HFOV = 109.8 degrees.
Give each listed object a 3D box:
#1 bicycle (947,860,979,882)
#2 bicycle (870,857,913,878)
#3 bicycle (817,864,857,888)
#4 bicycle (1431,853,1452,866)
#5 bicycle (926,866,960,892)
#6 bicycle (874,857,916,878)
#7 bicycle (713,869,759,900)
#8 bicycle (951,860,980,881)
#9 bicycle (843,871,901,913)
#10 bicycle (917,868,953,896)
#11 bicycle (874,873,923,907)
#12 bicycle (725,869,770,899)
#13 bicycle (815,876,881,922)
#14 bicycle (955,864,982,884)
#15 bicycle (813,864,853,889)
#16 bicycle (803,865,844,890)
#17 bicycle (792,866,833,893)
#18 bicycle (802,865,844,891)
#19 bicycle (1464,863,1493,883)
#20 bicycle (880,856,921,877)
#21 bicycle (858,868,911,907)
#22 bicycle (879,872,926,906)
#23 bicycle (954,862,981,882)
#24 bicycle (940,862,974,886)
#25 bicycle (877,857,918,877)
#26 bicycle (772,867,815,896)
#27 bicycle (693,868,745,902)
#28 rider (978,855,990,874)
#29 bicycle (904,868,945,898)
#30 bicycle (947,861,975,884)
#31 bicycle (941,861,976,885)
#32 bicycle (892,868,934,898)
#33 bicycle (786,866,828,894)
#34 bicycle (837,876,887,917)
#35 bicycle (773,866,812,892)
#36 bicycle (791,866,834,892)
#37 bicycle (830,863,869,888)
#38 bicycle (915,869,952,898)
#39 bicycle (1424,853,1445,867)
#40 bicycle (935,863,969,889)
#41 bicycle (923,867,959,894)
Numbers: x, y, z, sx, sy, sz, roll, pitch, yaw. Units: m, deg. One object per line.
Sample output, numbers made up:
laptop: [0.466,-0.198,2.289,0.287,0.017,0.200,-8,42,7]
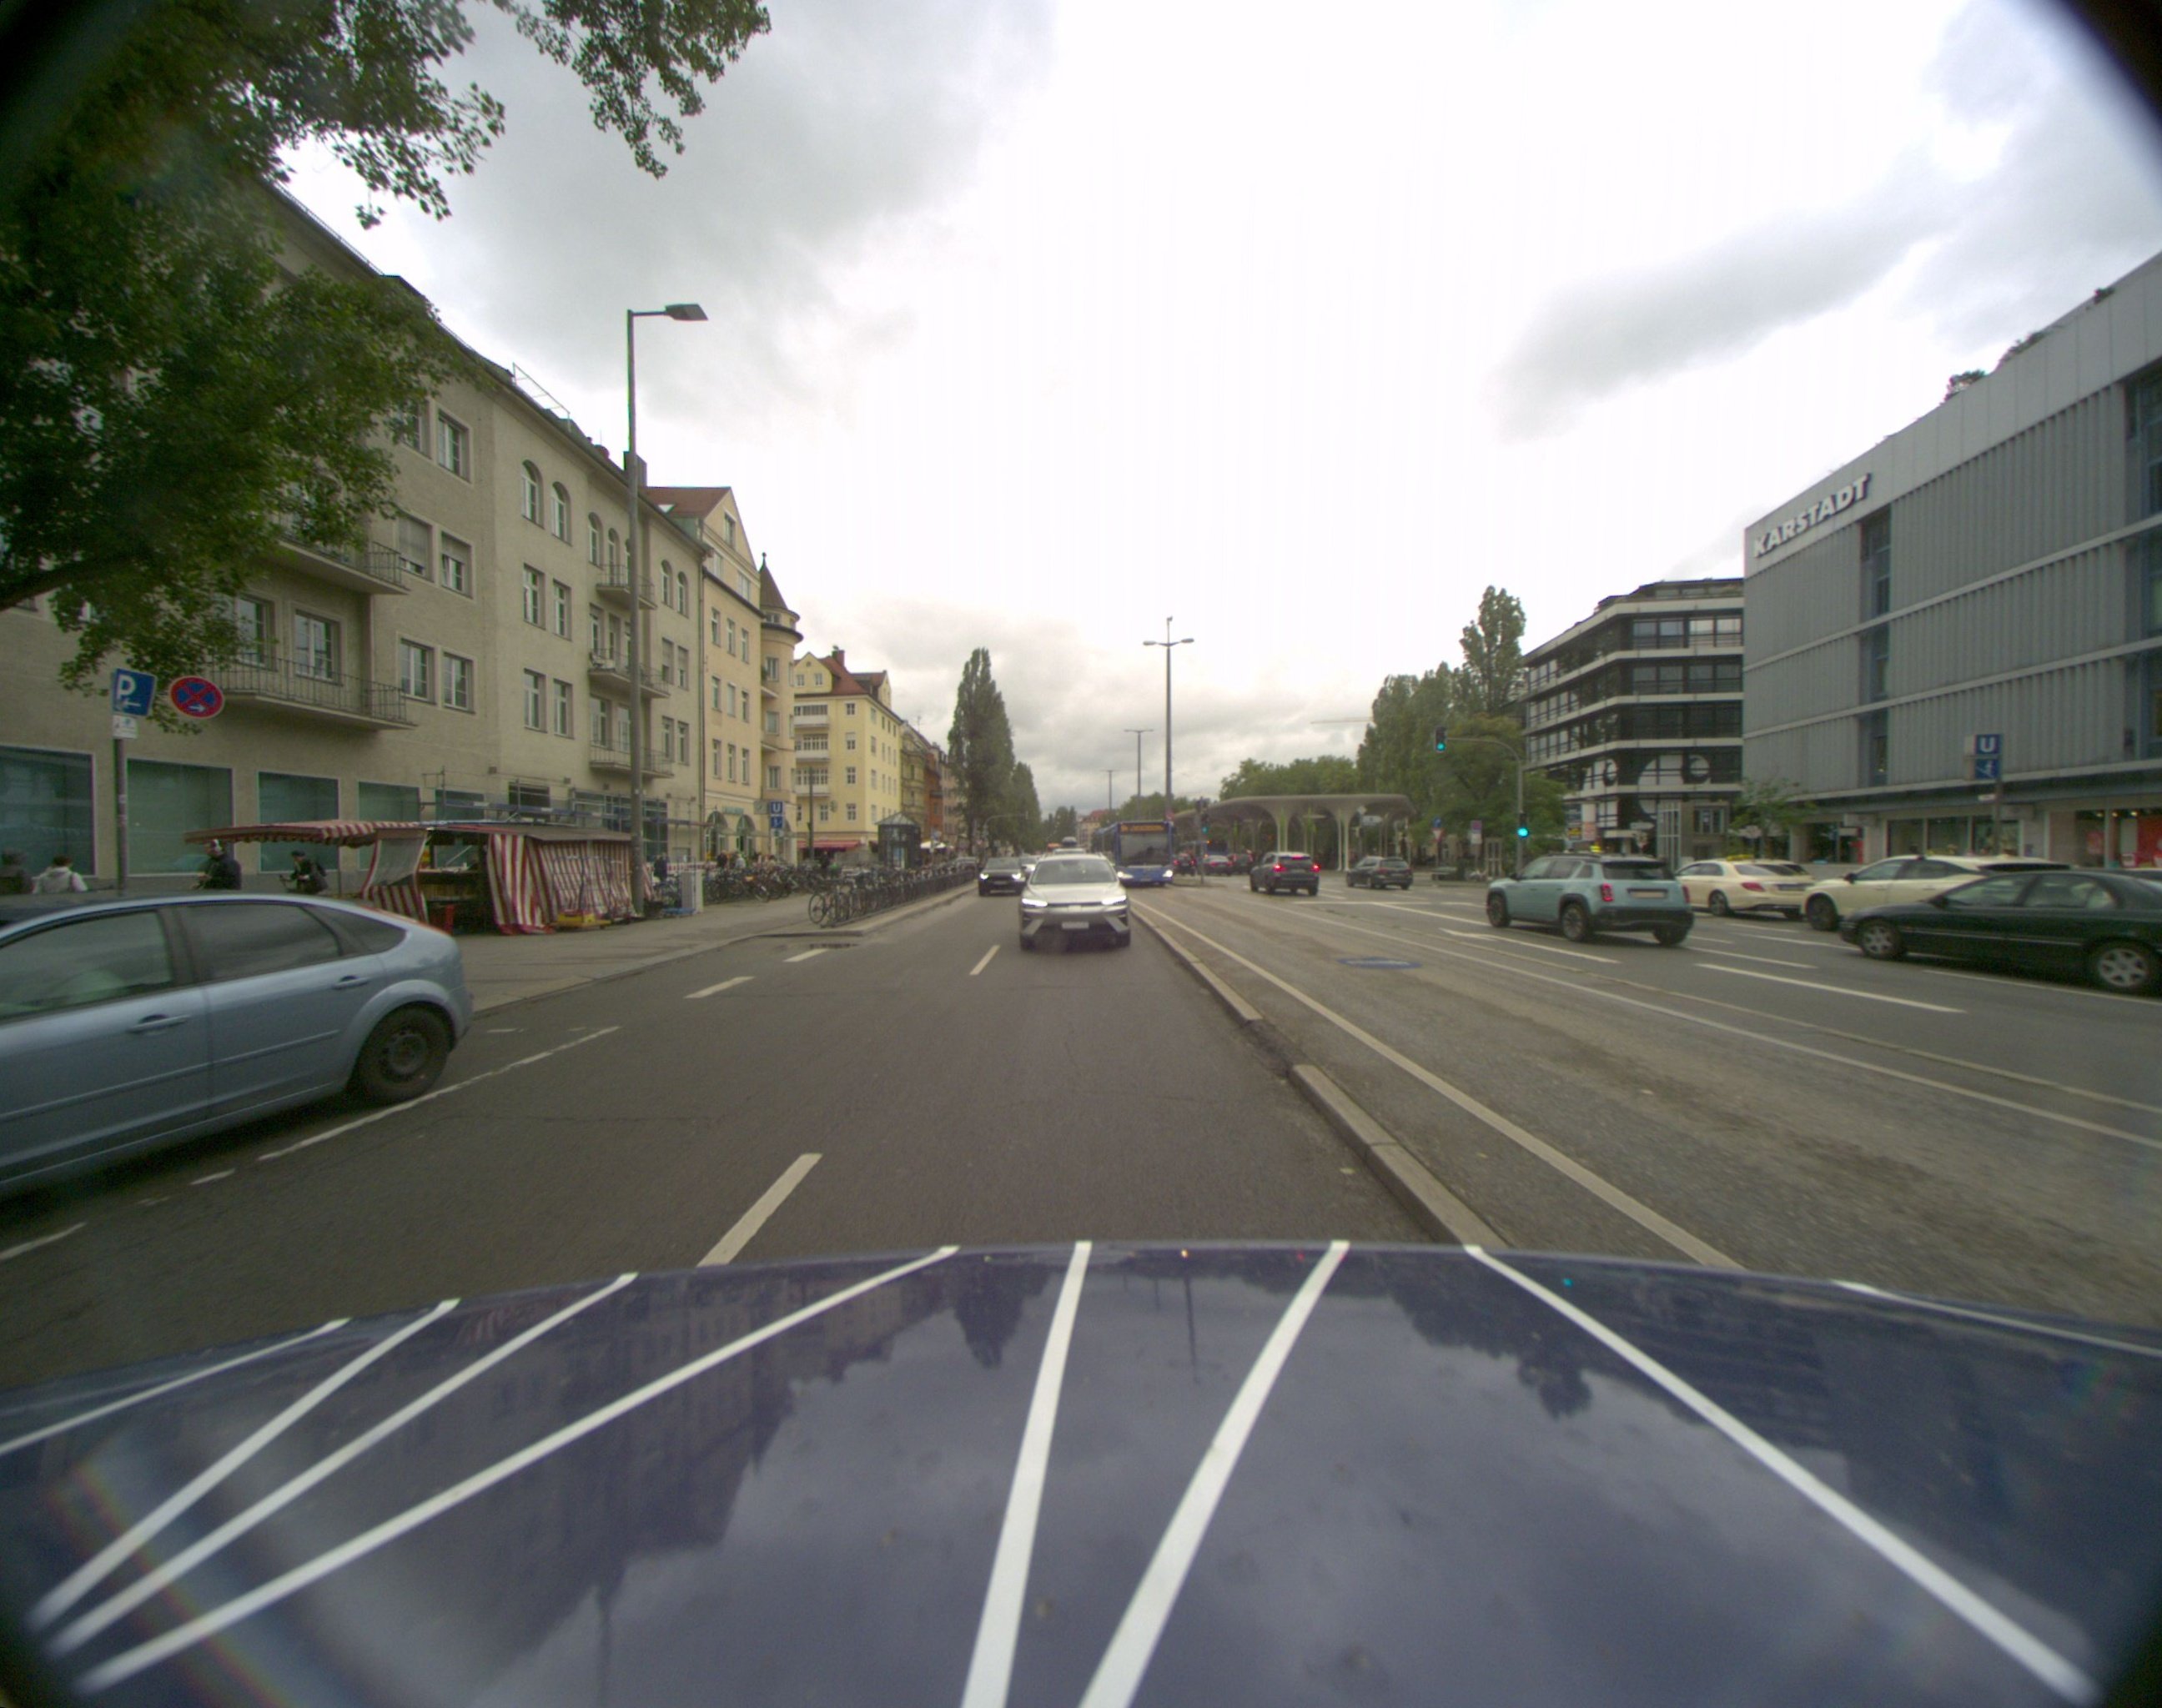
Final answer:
bicycle: [-6.230,0.907,40.024,1.674,1.131,0.479,-1,1,29]
bicycle: [-11.109,0.805,44.604,2.317,1.220,0.628,0,1,2]
bicycle: [-10.907,0.983,33.982,1.655,1.071,0.410,1,1,-2]
bicycle: [29.633,0.463,62.475,0.473,1.091,1.671,-1,1,-25]
bicycle: [-6.047,1.101,33.180,1.848,1.053,0.398,-5,-1,44]
bicycle: [-11.061,0.792,45.238,2.317,1.220,0.628,0,1,2]
bicycle: [-12.367,1.100,27.234,1.453,1.071,0.410,1,1,-10]
bicycle: [-6.197,0.891,40.838,1.673,1.131,0.479,-1,1,39]
bicycle: [-5.891,1.078,21.377,1.797,1.098,0.548,-5,-1,38]
bicycle: [-5.956,1.158,30.969,1.848,1.053,0.398,-5,-1,44]
bicycle: [-5.784,1.140,24.034,1.797,1.004,0.387,-5,-1,38]
bicycle: [-12.227,1.084,27.868,1.453,1.071,0.410,1,1,-10]
bicycle: [-5.704,1.106,18.547,1.797,1.048,0.548,-5,-1,37]
bicycle: [-6.517,1.148,43.945,1.848,1.053,0.398,-5,-1,42]
bicycle: [-10.945,0.993,33.529,1.605,1.071,0.410,1,1,-2]
bicycle: [-11.158,1.010,32.892,1.625,1.071,0.410,1,1,-2]
bicycle: [-10.961,1.037,31.049,1.528,1.071,0.410,1,1,-2]
bicycle: [-10.909,1.016,32.161,1.638,1.071,0.410,1,1,4]
bicycle: [21.045,1.004,40.239,1.298,1.010,0.419,0,1,-3]
bicycle: [-11.058,0.767,46.619,2.317,1.220,0.628,0,1,2]
bicycle: [-6.113,1.045,23.624,1.797,1.098,0.548,-5,-1,38]
bicycle: [-5.844,1.153,24.809,1.797,1.004,0.387,-5,-1,38]
bicycle: [-6.457,1.014,43.129,1.848,1.053,0.398,-5,-1,42]
bicycle: [-5.980,0.962,36.513,1.790,1.131,0.490,-1,1,37]
bicycle: [-11.067,0.781,45.901,2.317,1.220,0.628,0,1,2]
bicycle: [-10.861,1.038,28.693,1.453,1.071,0.410,1,1,-10]
bicycle: [-12.169,1.033,25.556,1.632,1.097,0.410,1,1,8]
rider: [-6.518,0.696,51.017,0.732,1.234,0.732,1,1,-4]
bicycle: [-6.030,1.126,29.258,1.797,1.053,0.398,-5,-1,38]
bicycle: [-6.083,0.930,38.522,1.521,1.131,0.349,-1,1,35]
bicycle: [-6.103,0.942,37.883,1.791,1.131,0.591,-1,1,35]
bicycle: [-6.161,1.080,27.847,1.797,1.004,0.387,-5,-1,38]
bicycle: [-10.969,1.048,30.460,1.539,1.071,0.410,1,1,-2]
bicycle: [-5.969,1.164,20.632,1.797,1.048,0.368,-5,-1,43]
bicycle: [-12.353,1.054,32.526,1.530,1.071,0.410,1,1,-2]
bicycle: [-11.190,1.034,31.651,1.661,1.071,0.410,1,1,1]
bicycle: [-10.675,0.987,35.079,0.409,1.071,1.765,2,1,39]
bicycle: [-5.866,1.170,30.126,1.848,1.053,0.398,-5,-1,44]
bicycle: [28.910,0.492,62.111,0.473,1.091,1.671,-1,1,-25]
bicycle: [-5.867,0.995,34.502,1.790,1.131,0.490,-1,1,43]
bicycle: [-5.832,1.121,31.610,1.848,1.053,0.398,-5,-1,44]
